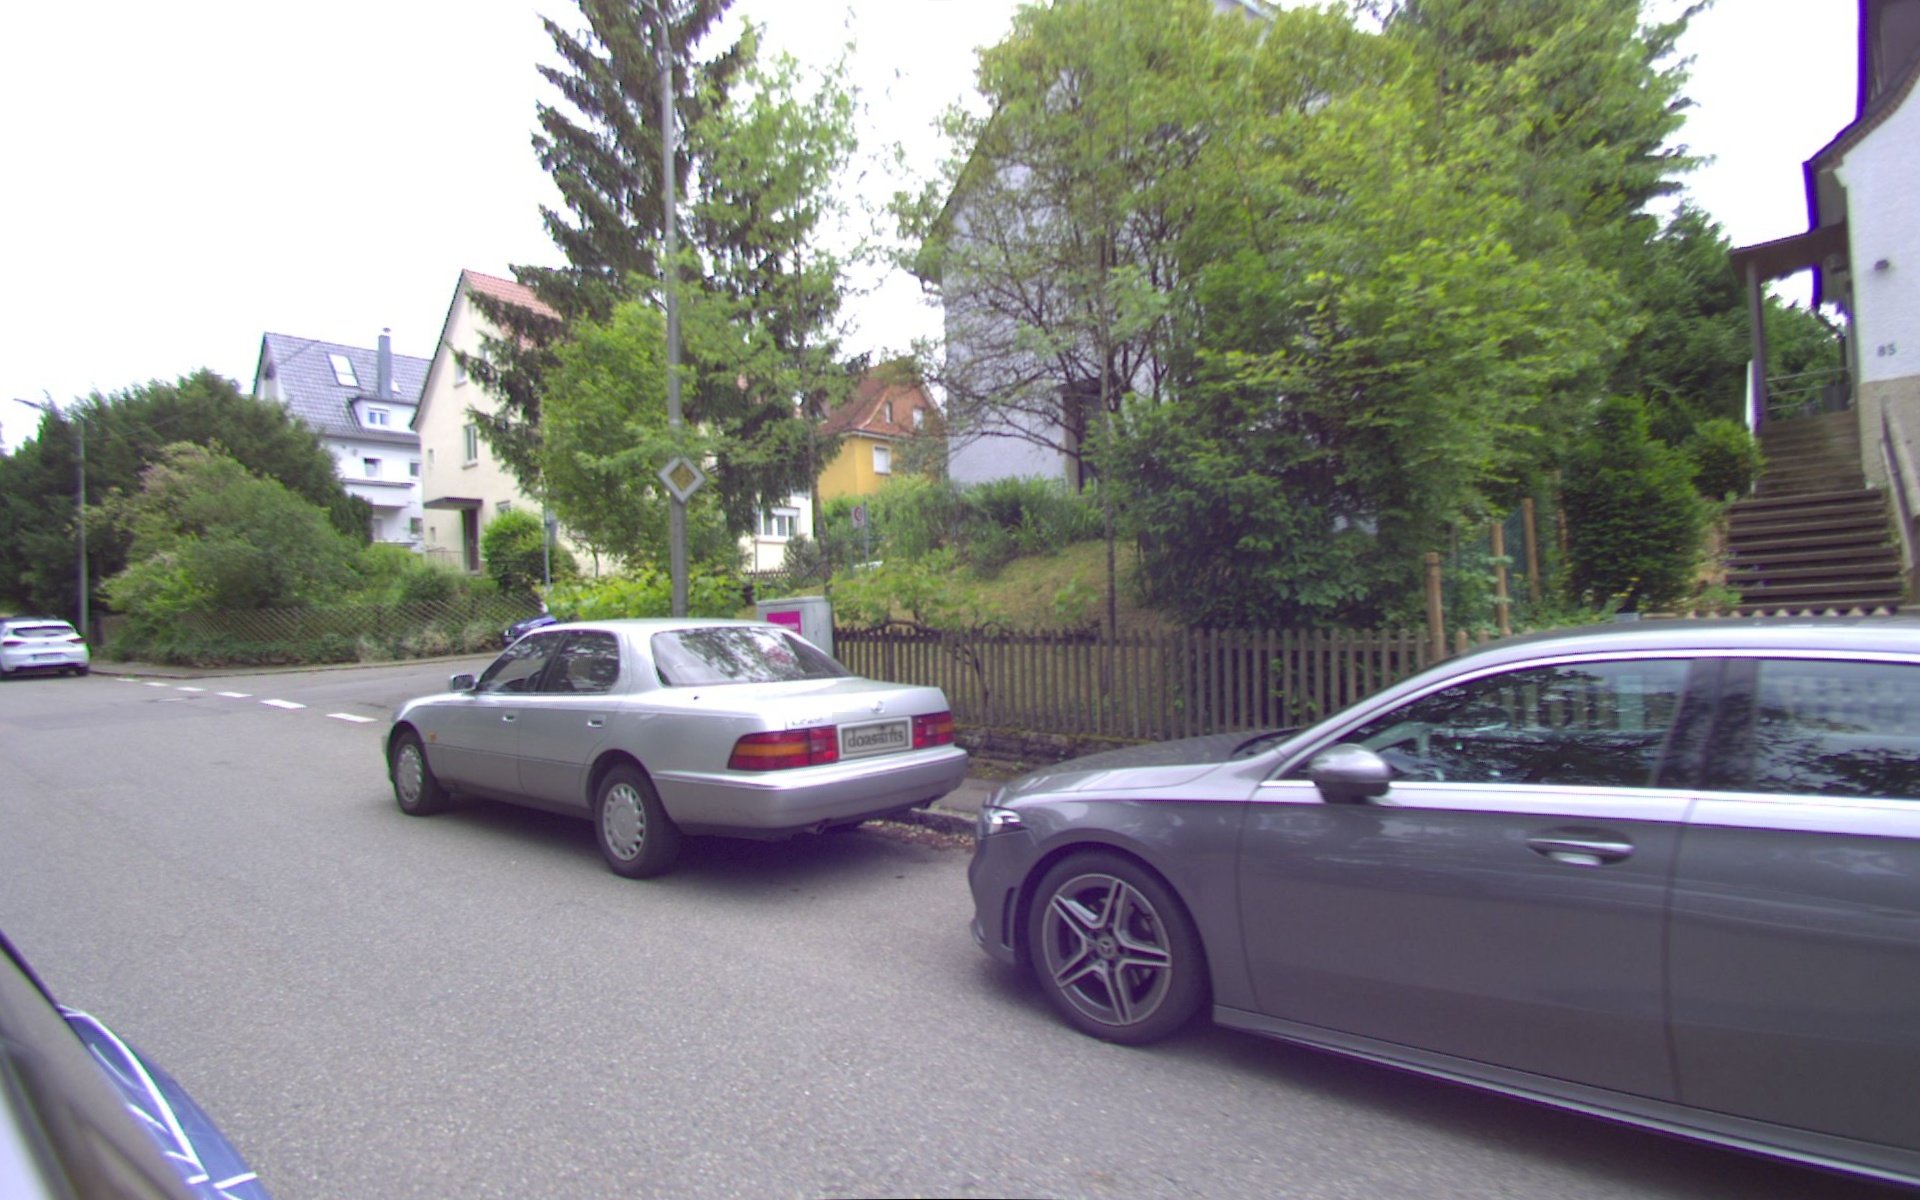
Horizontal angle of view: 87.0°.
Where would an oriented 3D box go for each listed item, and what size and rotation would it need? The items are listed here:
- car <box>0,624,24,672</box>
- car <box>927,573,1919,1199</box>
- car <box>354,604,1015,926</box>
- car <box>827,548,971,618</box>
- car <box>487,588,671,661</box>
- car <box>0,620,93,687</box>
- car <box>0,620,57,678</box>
[{"bbox_3d":[-31.440,1.553,32.191,4.318,1.450,1.766,-2,0,38],"label":"car"},{"bbox_3d":[2.070,0.688,3.112,4.257,1.450,1.717,-1,-1,38],"label":"car"},{"bbox_3d":[-2.140,0.798,6.847,4.905,1.450,1.830,-1,-2,39],"label":"car"},{"bbox_3d":[-2.005,-0.636,34.637,1.928,2.012,4.869,-7,-2,41],"label":"car"},{"bbox_3d":[-9.555,0.573,25.584,1.723,1.494,3.942,-3,2,45],"label":"car"},{"bbox_3d":[-23.562,1.320,25.645,4.011,1.511,1.766,-2,0,40],"label":"car"},{"bbox_3d":[-27.072,1.378,28.578,4.011,1.511,1.766,-2,0,40],"label":"car"}]
